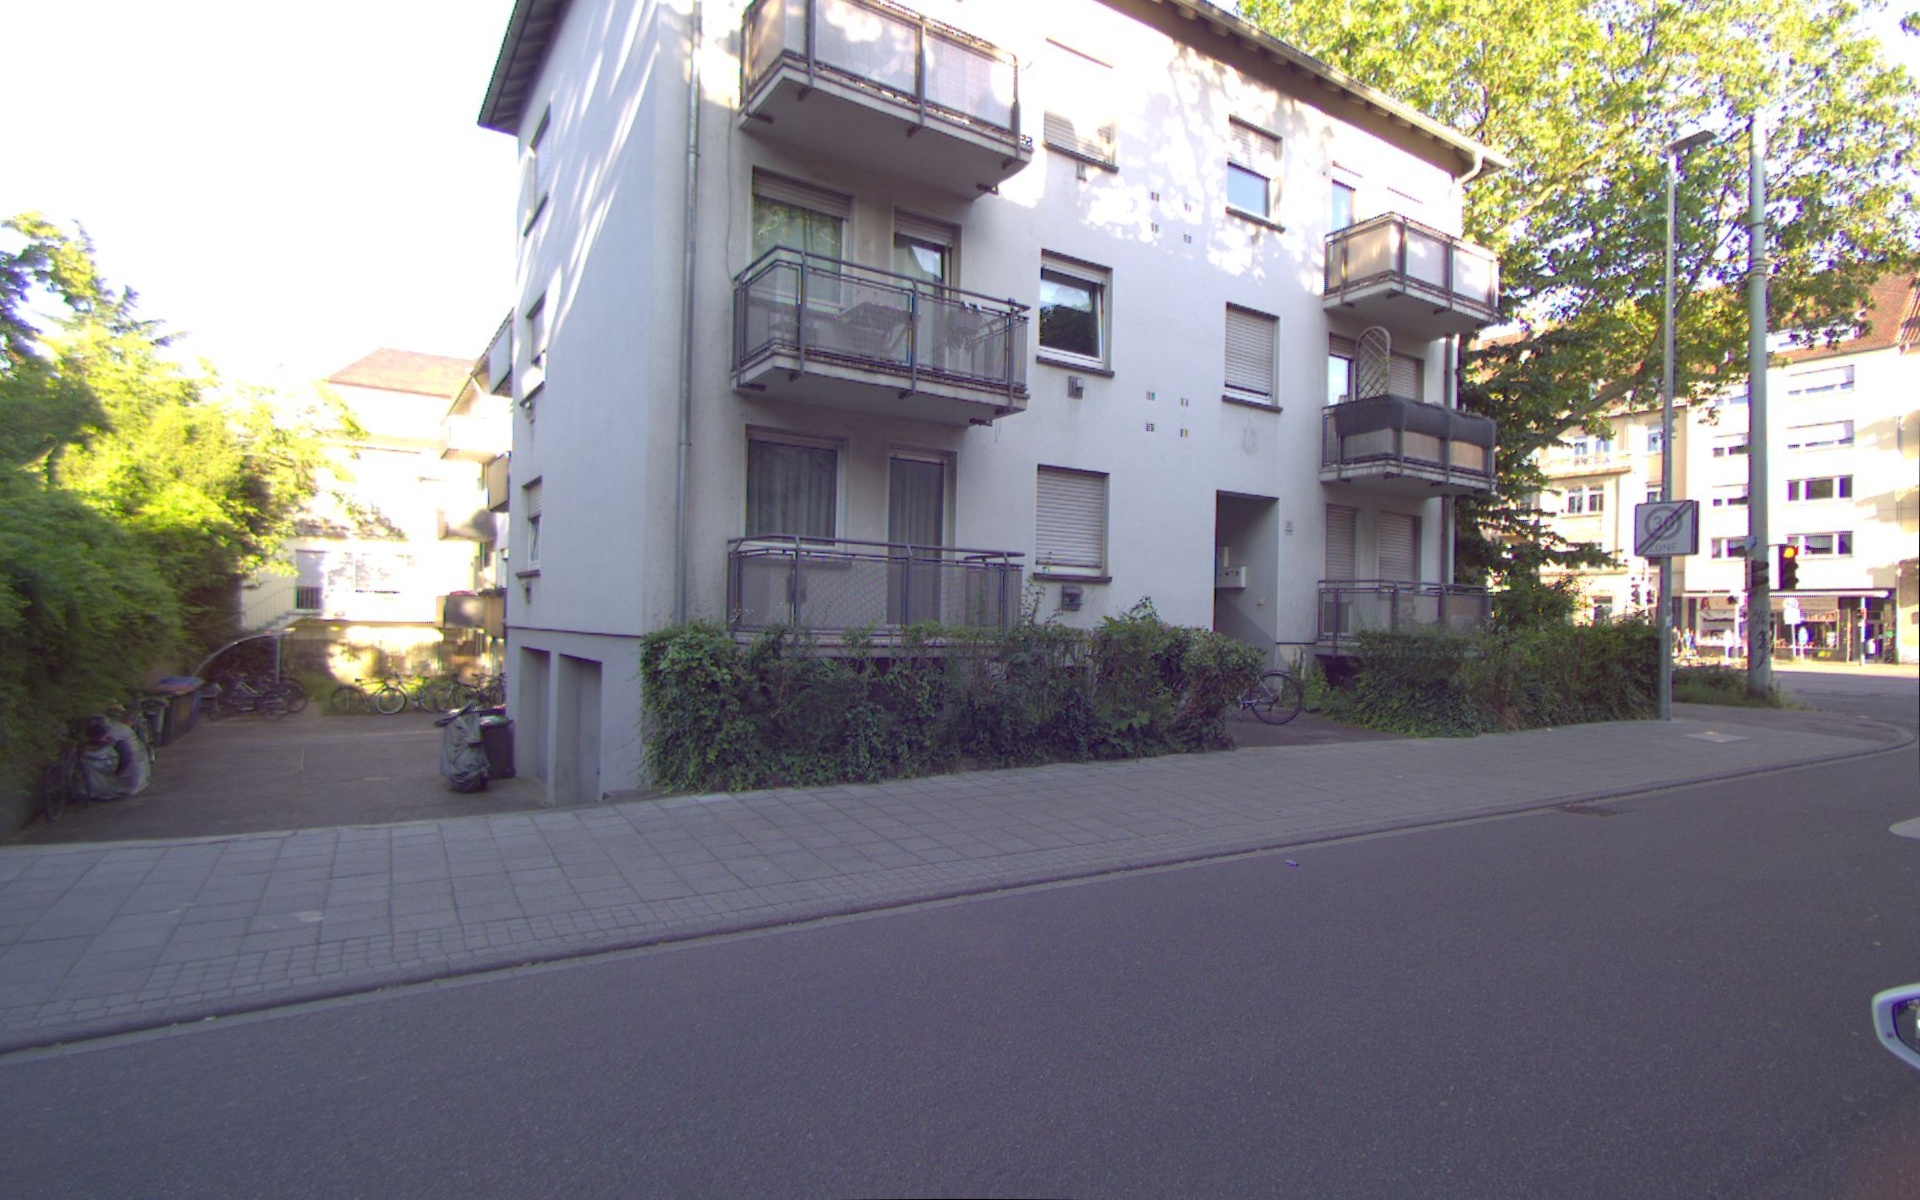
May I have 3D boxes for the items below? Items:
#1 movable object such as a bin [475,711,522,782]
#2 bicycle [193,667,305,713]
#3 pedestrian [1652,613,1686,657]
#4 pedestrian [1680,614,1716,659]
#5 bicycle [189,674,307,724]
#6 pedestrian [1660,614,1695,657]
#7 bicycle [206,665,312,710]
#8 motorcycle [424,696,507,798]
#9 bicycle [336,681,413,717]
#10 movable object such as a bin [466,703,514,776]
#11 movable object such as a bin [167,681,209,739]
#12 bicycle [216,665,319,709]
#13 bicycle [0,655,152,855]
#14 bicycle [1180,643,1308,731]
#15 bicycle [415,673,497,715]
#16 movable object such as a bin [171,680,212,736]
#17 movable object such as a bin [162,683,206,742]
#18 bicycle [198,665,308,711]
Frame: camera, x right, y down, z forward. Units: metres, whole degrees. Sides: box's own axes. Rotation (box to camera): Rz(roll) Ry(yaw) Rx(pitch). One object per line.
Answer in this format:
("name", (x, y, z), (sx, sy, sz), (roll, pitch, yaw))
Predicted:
("movable object such as a bin", (-7.396, 2.329, 16.089), (0.606, 1.051, 0.534), (1, -3, -34))
("bicycle", (-18.595, 2.330, 26.345), (2.311, 1.148, 0.689), (2, -4, -30))
("pedestrian", (40.726, 2.009, 57.705), (1.049, 2.497, 1.338), (1, 0, -34))
("pedestrian", (42.118, 2.065, 57.329), (1.049, 2.497, 1.338), (1, 0, -34))
("bicycle", (-17.331, 2.387, 24.526), (2.268, 1.148, 0.689), (2, -4, -30))
("pedestrian", (41.960, 2.065, 58.755), (1.049, 2.497, 1.338), (1, 0, -34))
("bicycle", (-19.367, 2.405, 27.816), (2.311, 1.192, 0.689), (2, -4, -30))
("motorcycle", (-7.399, 2.154, 15.007), (0.739, 1.313, 1.563), (2, -2, -41))
("bicycle", (-15.561, 2.630, 26.745), (1.734, 0.890, 0.561), (2, -4, -30))
("movable object such as a bin", (-7.911, 2.330, 16.902), (0.606, 1.129, 0.795), (1, -3, -33))
("movable object such as a bin", (-15.925, 2.261, 20.724), (0.606, 1.129, 0.795), (1, -3, -33))
("bicycle", (-19.637, 2.456, 28.541), (2.311, 1.192, 0.689), (2, -4, -30))
("bicycle", (-10.596, 1.658, 11.979), (0.961, 1.917, 4.156), (1, -2, -32))
("bicycle", (3.834, 1.151, 13.570), (1.590, 1.022, 0.517), (3, 1, 20))
("bicycle", (-13.906, 2.578, 27.745), (1.982, 1.085, 0.561), (2, -4, -30))
("movable object such as a bin", (-16.357, 2.291, 21.386), (0.606, 1.129, 0.795), (1, -3, -33))
("movable object such as a bin", (-15.484, 2.229, 20.053), (0.606, 1.129, 0.795), (1, -3, -33))
("bicycle", (-19.021, 2.361, 27.091), (2.311, 1.192, 0.689), (2, -4, -30))
